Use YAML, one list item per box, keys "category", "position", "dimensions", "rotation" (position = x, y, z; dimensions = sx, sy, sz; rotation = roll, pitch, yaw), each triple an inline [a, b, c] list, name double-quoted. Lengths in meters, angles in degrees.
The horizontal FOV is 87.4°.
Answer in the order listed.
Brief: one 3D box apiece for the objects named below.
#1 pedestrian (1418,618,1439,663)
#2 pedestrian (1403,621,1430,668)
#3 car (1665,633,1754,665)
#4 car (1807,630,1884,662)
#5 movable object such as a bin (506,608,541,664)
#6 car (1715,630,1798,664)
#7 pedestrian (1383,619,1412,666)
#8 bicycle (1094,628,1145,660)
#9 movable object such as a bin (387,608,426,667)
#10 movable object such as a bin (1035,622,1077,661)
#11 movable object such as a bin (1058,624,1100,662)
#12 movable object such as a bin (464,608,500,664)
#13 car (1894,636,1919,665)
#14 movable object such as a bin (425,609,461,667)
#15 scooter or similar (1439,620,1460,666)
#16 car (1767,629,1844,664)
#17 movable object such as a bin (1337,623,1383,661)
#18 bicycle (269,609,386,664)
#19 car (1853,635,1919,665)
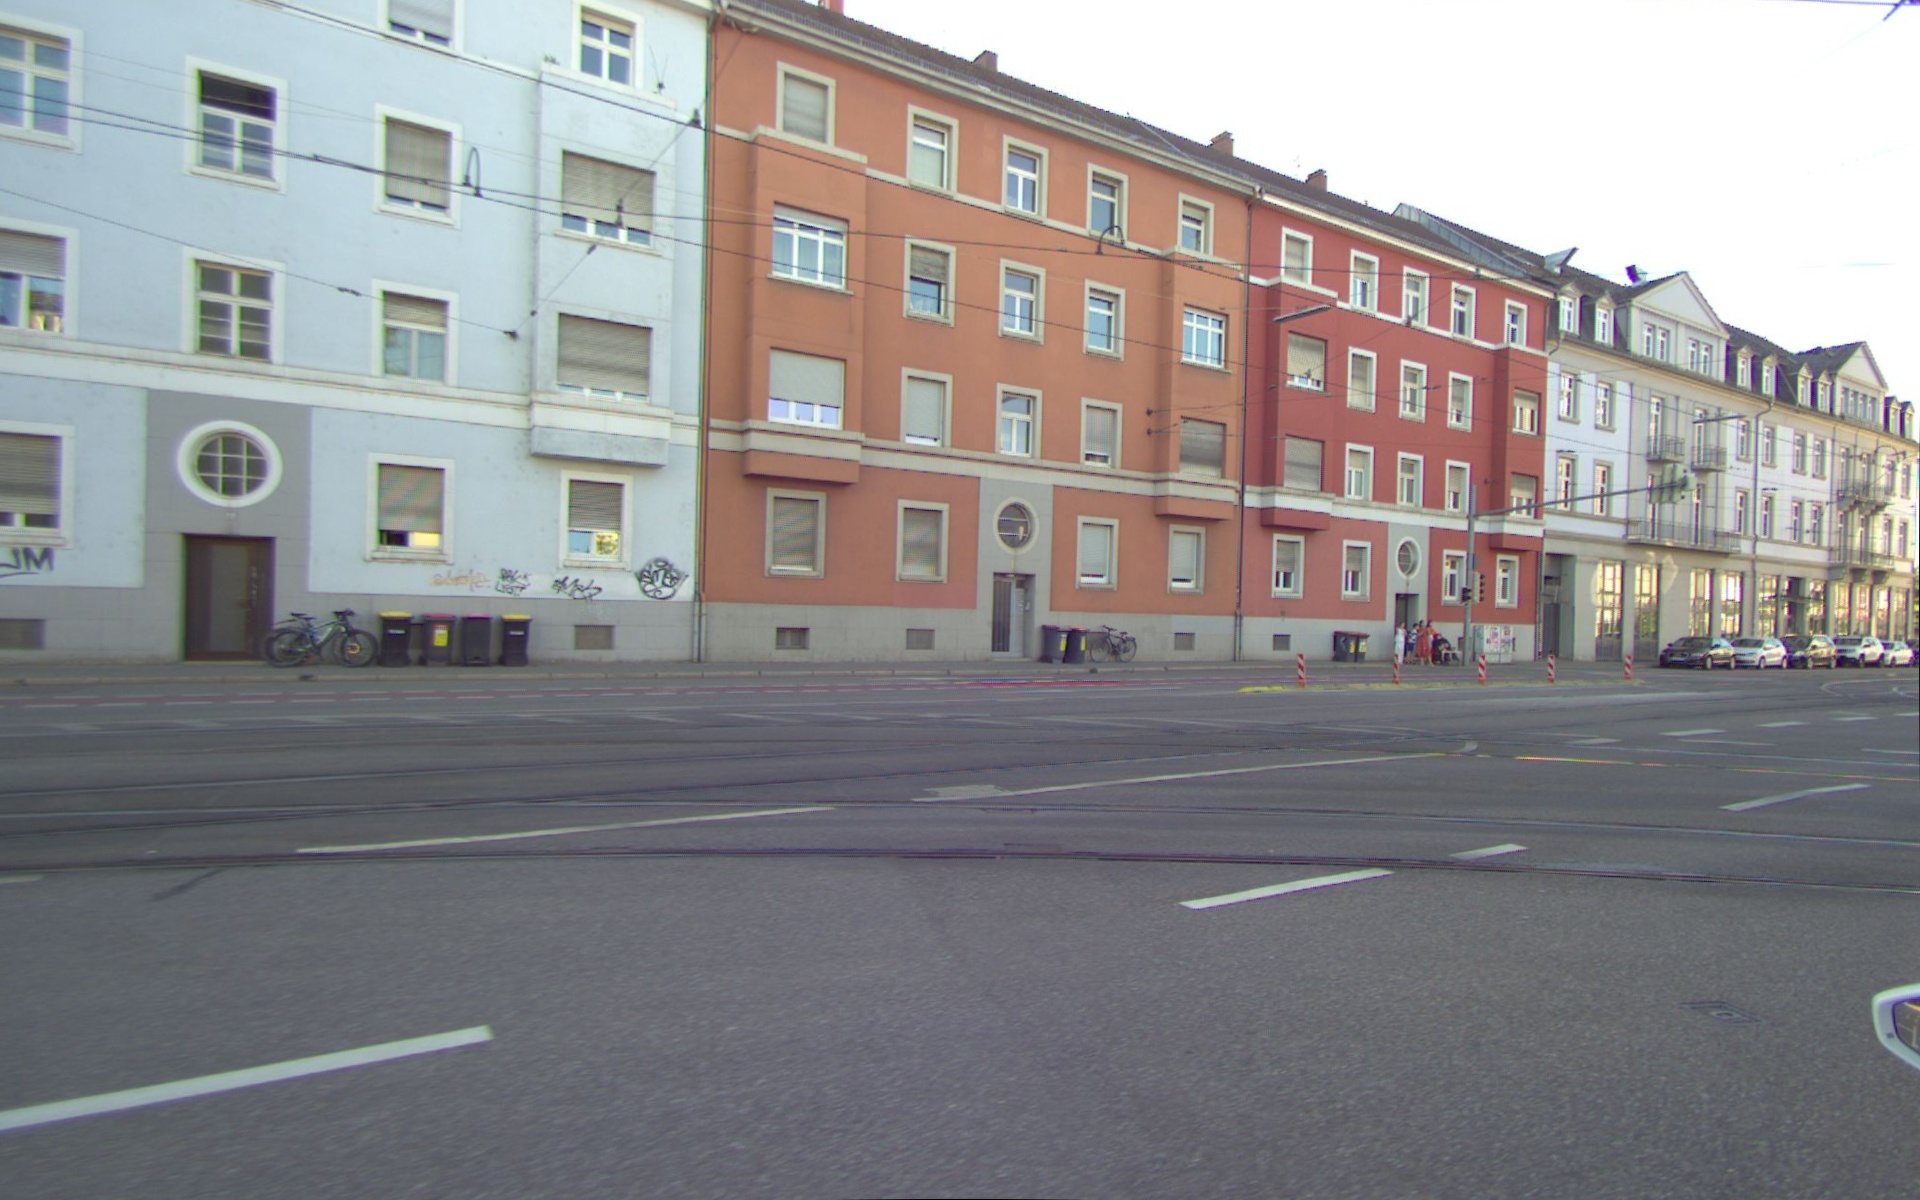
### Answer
- category: "pedestrian"
  position: [17.346, 1.489, 37.152]
  dimensions: [0.642, 1.655, 0.794]
  rotation: [1, 0, 27]
- category: "pedestrian"
  position: [16.475, 1.599, 36.239]
  dimensions: [0.815, 1.655, 0.795]
  rotation: [1, 0, 21]
- category: "car"
  position: [31.982, 2.079, 42.828]
  dimensions: [3.954, 1.249, 1.710]
  rotation: [2, -1, -31]
- category: "car"
  position: [46.209, 2.411, 52.392]
  dimensions: [4.225, 1.572, 1.826]
  rotation: [2, -1, -31]
- category: "movable object such as a bin"
  position: [-9.137, 0.747, 21.019]
  dimensions: [0.576, 1.121, 0.698]
  rotation: [2, 0, -31]
- category: "car"
  position: [36.507, 2.128, 46.028]
  dimensions: [3.954, 1.471, 1.710]
  rotation: [2, -1, -31]
- category: "pedestrian"
  position: [15.688, 1.512, 36.024]
  dimensions: [0.783, 1.655, 0.652]
  rotation: [1, 0, 38]
- category: "bicycle"
  position: [4.727, 1.308, 29.689]
  dimensions: [1.583, 0.902, 0.333]
  rotation: [2, -1, -27]
- category: "movable object such as a bin"
  position: [-10.967, 0.734, 19.903]
  dimensions: [0.641, 1.121, 0.698]
  rotation: [2, 0, -31]
- category: "movable object such as a bin"
  position: [2.678, 1.156, 28.100]
  dimensions: [0.803, 1.054, 0.837]
  rotation: [2, -1, -35]
- category: "movable object such as a bin"
  position: [3.381, 1.213, 28.560]
  dimensions: [0.803, 1.054, 0.837]
  rotation: [2, -1, -35]
- category: "movable object such as a bin"
  position: [-9.819, 0.734, 20.622]
  dimensions: [0.576, 1.121, 0.698]
  rotation: [2, 0, -31]
- category: "car"
  position: [55.074, 2.870, 57.216]
  dimensions: [3.954, 1.572, 1.710]
  rotation: [2, -1, -31]
- category: "movable object such as a bin"
  position: [-10.413, 0.756, 20.233]
  dimensions: [0.576, 1.121, 0.698]
  rotation: [2, 0, -31]
- category: "scooter or similar"
  position: [17.949, 1.568, 36.835]
  dimensions: [0.642, 1.655, 0.794]
  rotation: [1, 0, 27]
- category: "car"
  position: [40.781, 2.238, 48.411]
  dimensions: [3.812, 1.572, 1.710]
  rotation: [2, -1, -31]
- category: "movable object such as a bin"
  position: [14.022, 1.466, 35.207]
  dimensions: [1.216, 1.266, 0.868]
  rotation: [2, -1, -25]
- category: "bicycle"
  position: [-12.114, 0.712, 19.304]
  dimensions: [1.856, 0.993, 0.602]
  rotation: [2, 0, -32]
- category: "car"
  position: [50.645, 2.727, 54.858]
  dimensions: [3.954, 1.572, 1.710]
  rotation: [2, -1, -31]
